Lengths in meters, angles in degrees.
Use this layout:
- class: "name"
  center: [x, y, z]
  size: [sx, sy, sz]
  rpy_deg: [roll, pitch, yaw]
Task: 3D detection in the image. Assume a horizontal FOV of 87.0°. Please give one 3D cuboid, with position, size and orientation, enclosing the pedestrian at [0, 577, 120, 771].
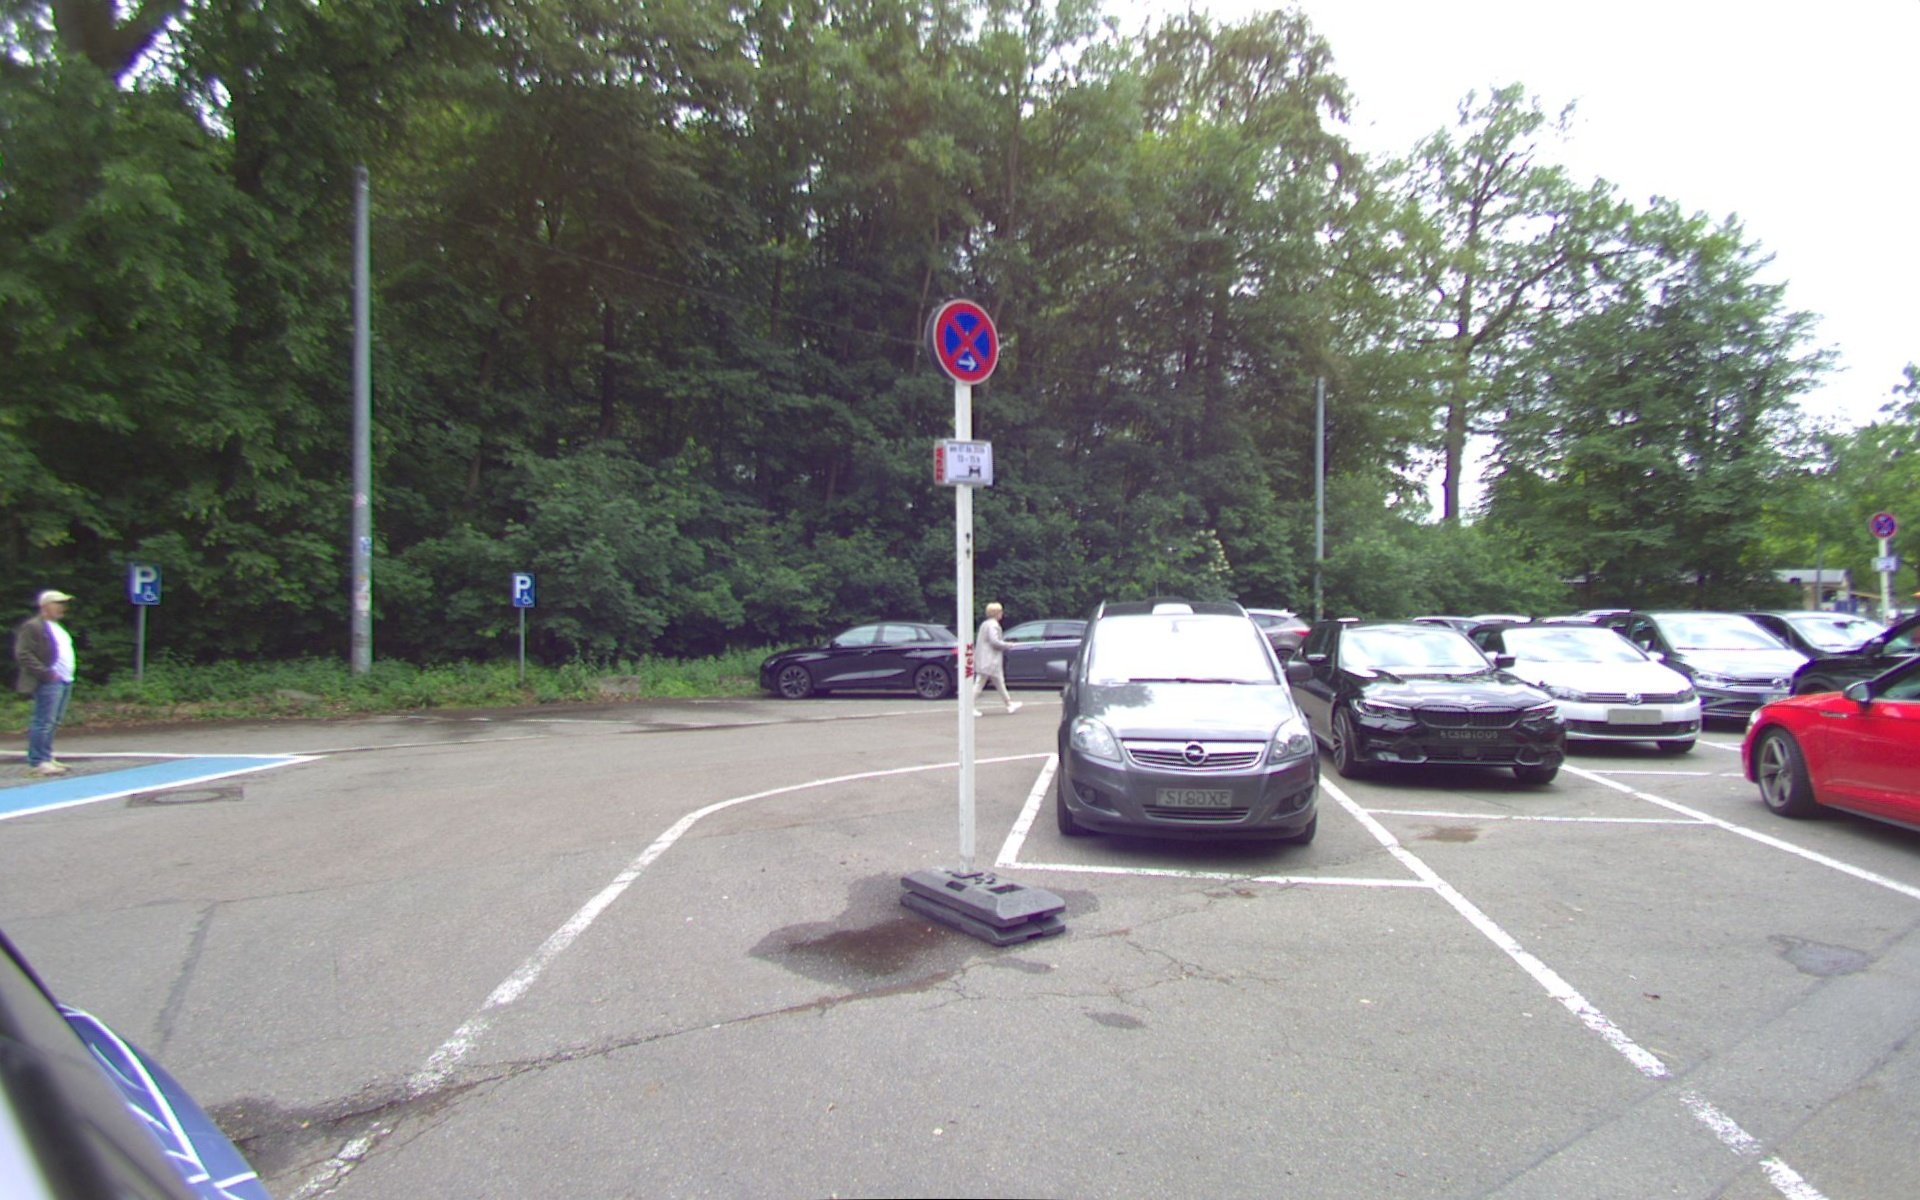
- class: "pedestrian"
  center: [-8.596, 0.666, 9.478]
  size: [0.881, 1.738, 0.766]
  rpy_deg: [0, -1, -17]

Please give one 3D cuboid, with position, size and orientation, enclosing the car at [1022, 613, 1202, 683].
- class: "car"
  center: [3.524, 1.056, 23.240]
  size: [3.962, 1.478, 1.826]
  rpy_deg: [0, -1, 15]

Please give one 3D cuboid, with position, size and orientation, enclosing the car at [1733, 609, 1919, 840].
- class: "car"
  center: [6.658, 0.753, 5.725]
  size: [1.749, 1.404, 4.378]
  rpy_deg: [0, -1, 10]

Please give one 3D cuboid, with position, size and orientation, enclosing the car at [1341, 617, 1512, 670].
- class: "car"
  center: [13.407, 1.225, 29.330]
  size: [4.141, 1.468, 1.799]
  rpy_deg: [0, -1, 11]

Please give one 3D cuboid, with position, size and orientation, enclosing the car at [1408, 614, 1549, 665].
- class: "car"
  center: [16.000, 1.186, 31.392]
  size: [3.546, 1.516, 1.728]
  rpy_deg: [0, -1, 12]

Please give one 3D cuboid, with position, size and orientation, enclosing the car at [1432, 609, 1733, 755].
- class: "car"
  center: [7.182, 0.848, 12.175]
  size: [1.753, 1.454, 3.834]
  rpy_deg: [0, -1, 10]

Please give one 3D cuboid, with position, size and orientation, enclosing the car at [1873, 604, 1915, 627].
- class: "car"
  center: [65.225, 1.094, 70.721]
  size: [1.999, 1.564, 3.945]
  rpy_deg: [-1, -1, 41]

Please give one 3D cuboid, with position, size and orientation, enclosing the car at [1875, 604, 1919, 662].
- class: "car"
  center: [27.259, 0.891, 27.536]
  size: [1.666, 1.597, 3.647]
  rpy_deg: [0, -1, 7]

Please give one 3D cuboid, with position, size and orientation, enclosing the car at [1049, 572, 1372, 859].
- class: "car"
  center: [1.729, 0.685, 8.024]
  size: [1.808, 1.621, 4.376]
  rpy_deg: [0, -1, 8]

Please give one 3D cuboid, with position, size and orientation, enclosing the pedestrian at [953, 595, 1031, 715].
- class: "pedestrian"
  center: [0.478, 0.800, 15.220]
  size: [0.882, 1.738, 0.766]
  rpy_deg: [0, -1, -34]

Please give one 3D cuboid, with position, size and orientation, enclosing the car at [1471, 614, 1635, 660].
- class: "car"
  center: [19.425, 1.202, 33.363]
  size: [4.255, 1.424, 1.919]
  rpy_deg: [-1, -1, 15]

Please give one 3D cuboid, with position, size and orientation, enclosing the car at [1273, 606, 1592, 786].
- class: "car"
  center: [4.505, 0.807, 10.406]
  size: [1.739, 1.454, 4.268]
  rpy_deg: [0, -1, 8]

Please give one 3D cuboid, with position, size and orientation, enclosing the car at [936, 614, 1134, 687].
- class: "car"
  center: [1.619, 1.018, 21.222]
  size: [3.956, 1.433, 1.904]
  rpy_deg: [0, -1, 10]

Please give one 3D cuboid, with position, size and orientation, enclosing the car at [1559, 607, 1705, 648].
- class: "car"
  center: [24.925, 1.016, 37.675]
  size: [4.079, 1.449, 1.862]
  rpy_deg: [-1, -1, 13]

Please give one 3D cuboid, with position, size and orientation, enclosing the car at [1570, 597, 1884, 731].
- class: "car"
  center: [10.451, 0.801, 14.220]
  size: [1.826, 1.599, 3.966]
  rpy_deg: [0, -1, 9]

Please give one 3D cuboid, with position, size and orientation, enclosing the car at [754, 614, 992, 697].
- class: "car"
  center: [-1.584, 1.017, 19.186]
  size: [4.159, 1.473, 1.893]
  rpy_deg: [-1, -1, 11]

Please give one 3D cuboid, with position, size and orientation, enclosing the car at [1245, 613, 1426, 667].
- class: "car"
  center: [10.017, 1.046, 27.283]
  size: [4.213, 1.388, 1.960]
  rpy_deg: [0, -1, 8]

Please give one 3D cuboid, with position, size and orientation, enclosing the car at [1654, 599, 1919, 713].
- class: "car"
  center: [13.136, 0.790, 15.877]
  size: [1.848, 1.566, 3.996]
  rpy_deg: [0, -1, 3]

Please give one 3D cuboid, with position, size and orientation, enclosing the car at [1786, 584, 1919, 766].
- class: "car"
  center: [9.707, 0.680, 8.934]
  size: [1.876, 1.676, 3.991]
  rpy_deg: [0, -1, 7]

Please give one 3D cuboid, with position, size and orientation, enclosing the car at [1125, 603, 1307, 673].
- class: "car"
  center: [6.263, 0.911, 25.237]
  size: [4.216, 1.649, 1.959]
  rpy_deg: [0, -1, 11]
